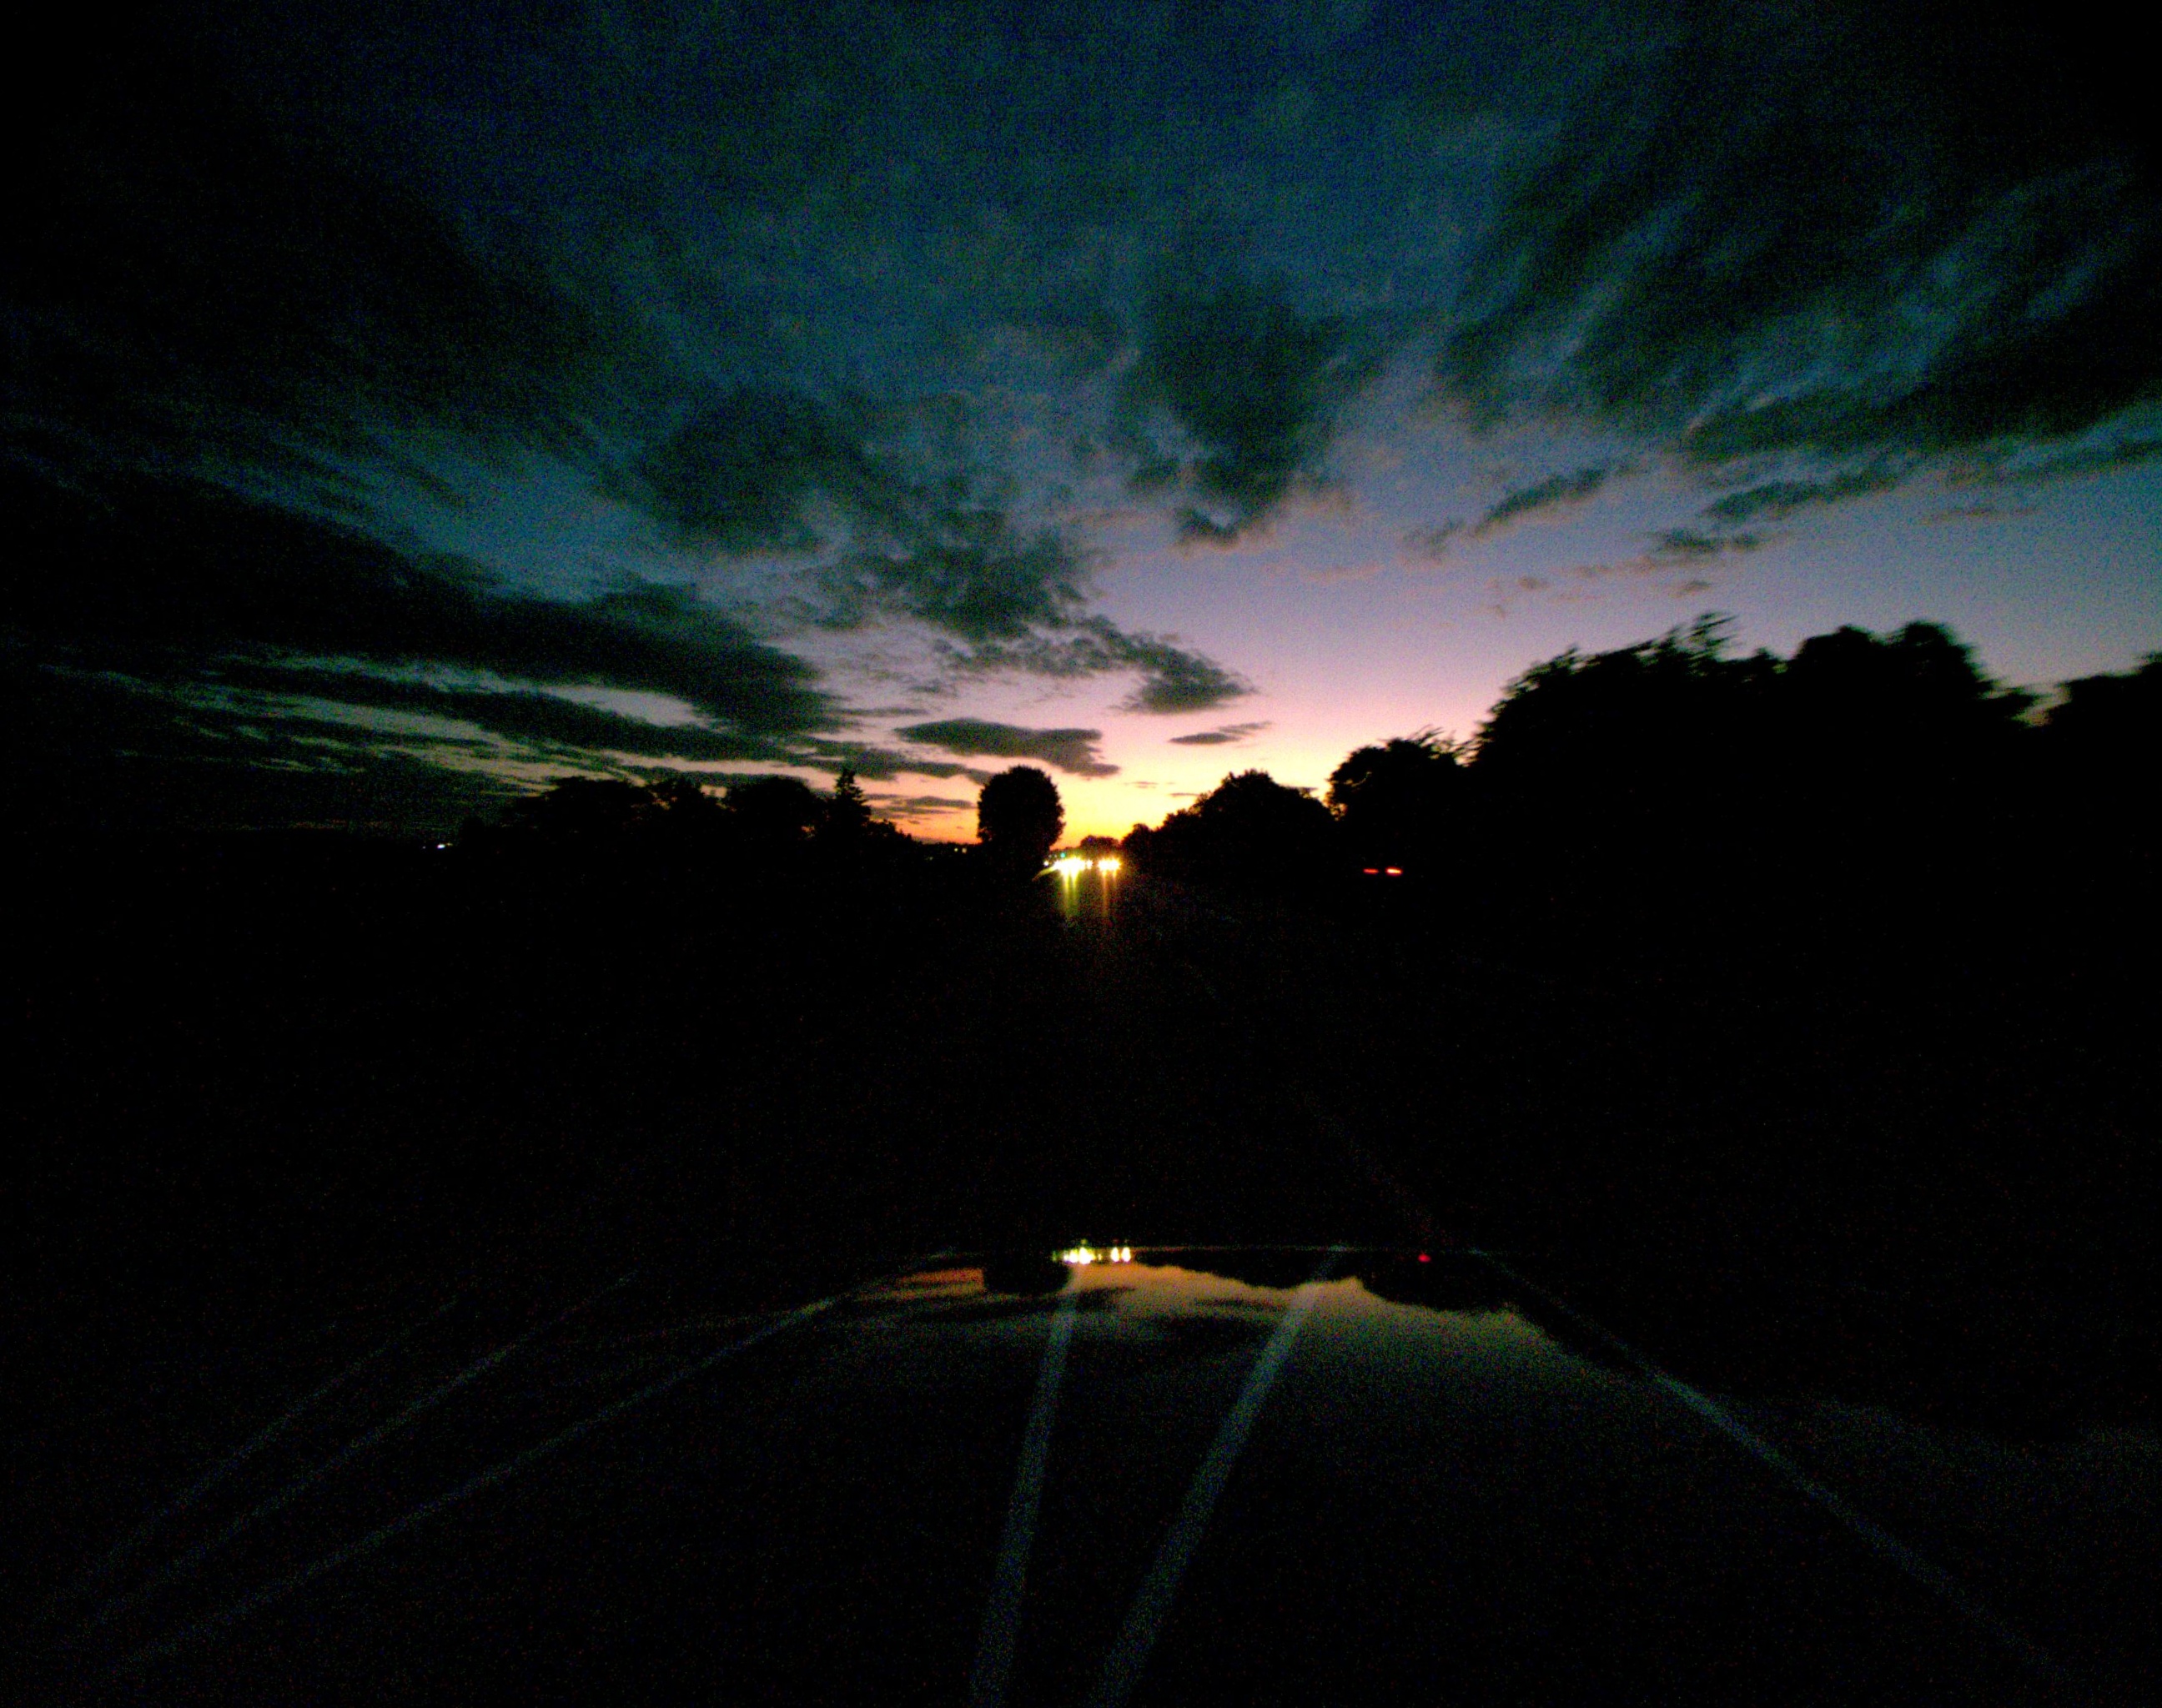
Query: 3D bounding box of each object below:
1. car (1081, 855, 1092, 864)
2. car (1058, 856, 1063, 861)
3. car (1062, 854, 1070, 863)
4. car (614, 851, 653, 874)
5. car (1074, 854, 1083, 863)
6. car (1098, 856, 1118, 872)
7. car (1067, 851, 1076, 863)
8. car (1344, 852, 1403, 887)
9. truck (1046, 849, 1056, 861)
[{"bbox_3d":[1.099,1.032,151.793,1.999,1.778,3.999,-2,0,-4],"label":"car"},{"bbox_3d":[-5.946,1.308,219.480,1.480,1.619,3.210,-2,0,-2],"label":"car"},{"bbox_3d":[-3.809,1.138,190.461,1.999,2.002,3.999,-2,0,-3],"label":"car"},{"bbox_3d":[-44.301,0.805,75.279,2.001,2.139,4.574,1,0,-12],"label":"car"},{"bbox_3d":[-0.685,0.996,179.794,1.999,2.002,4.000,-2,0,-1],"label":"car"},{"bbox_3d":[3.066,1.085,85.943,1.999,1.635,4.297,-2,0,0],"label":"car"},{"bbox_3d":[-1.765,0.592,141.094,1.741,2.001,4.000,-2,0,-1],"label":"car"},{"bbox_3d":[16.100,0.823,42.024,1.673,1.747,4.000,-2,0,1],"label":"car"},{"bbox_3d":[-10.257,0.385,259.855,3.017,3.674,9.056,-2,0,-3],"label":"truck"}]
